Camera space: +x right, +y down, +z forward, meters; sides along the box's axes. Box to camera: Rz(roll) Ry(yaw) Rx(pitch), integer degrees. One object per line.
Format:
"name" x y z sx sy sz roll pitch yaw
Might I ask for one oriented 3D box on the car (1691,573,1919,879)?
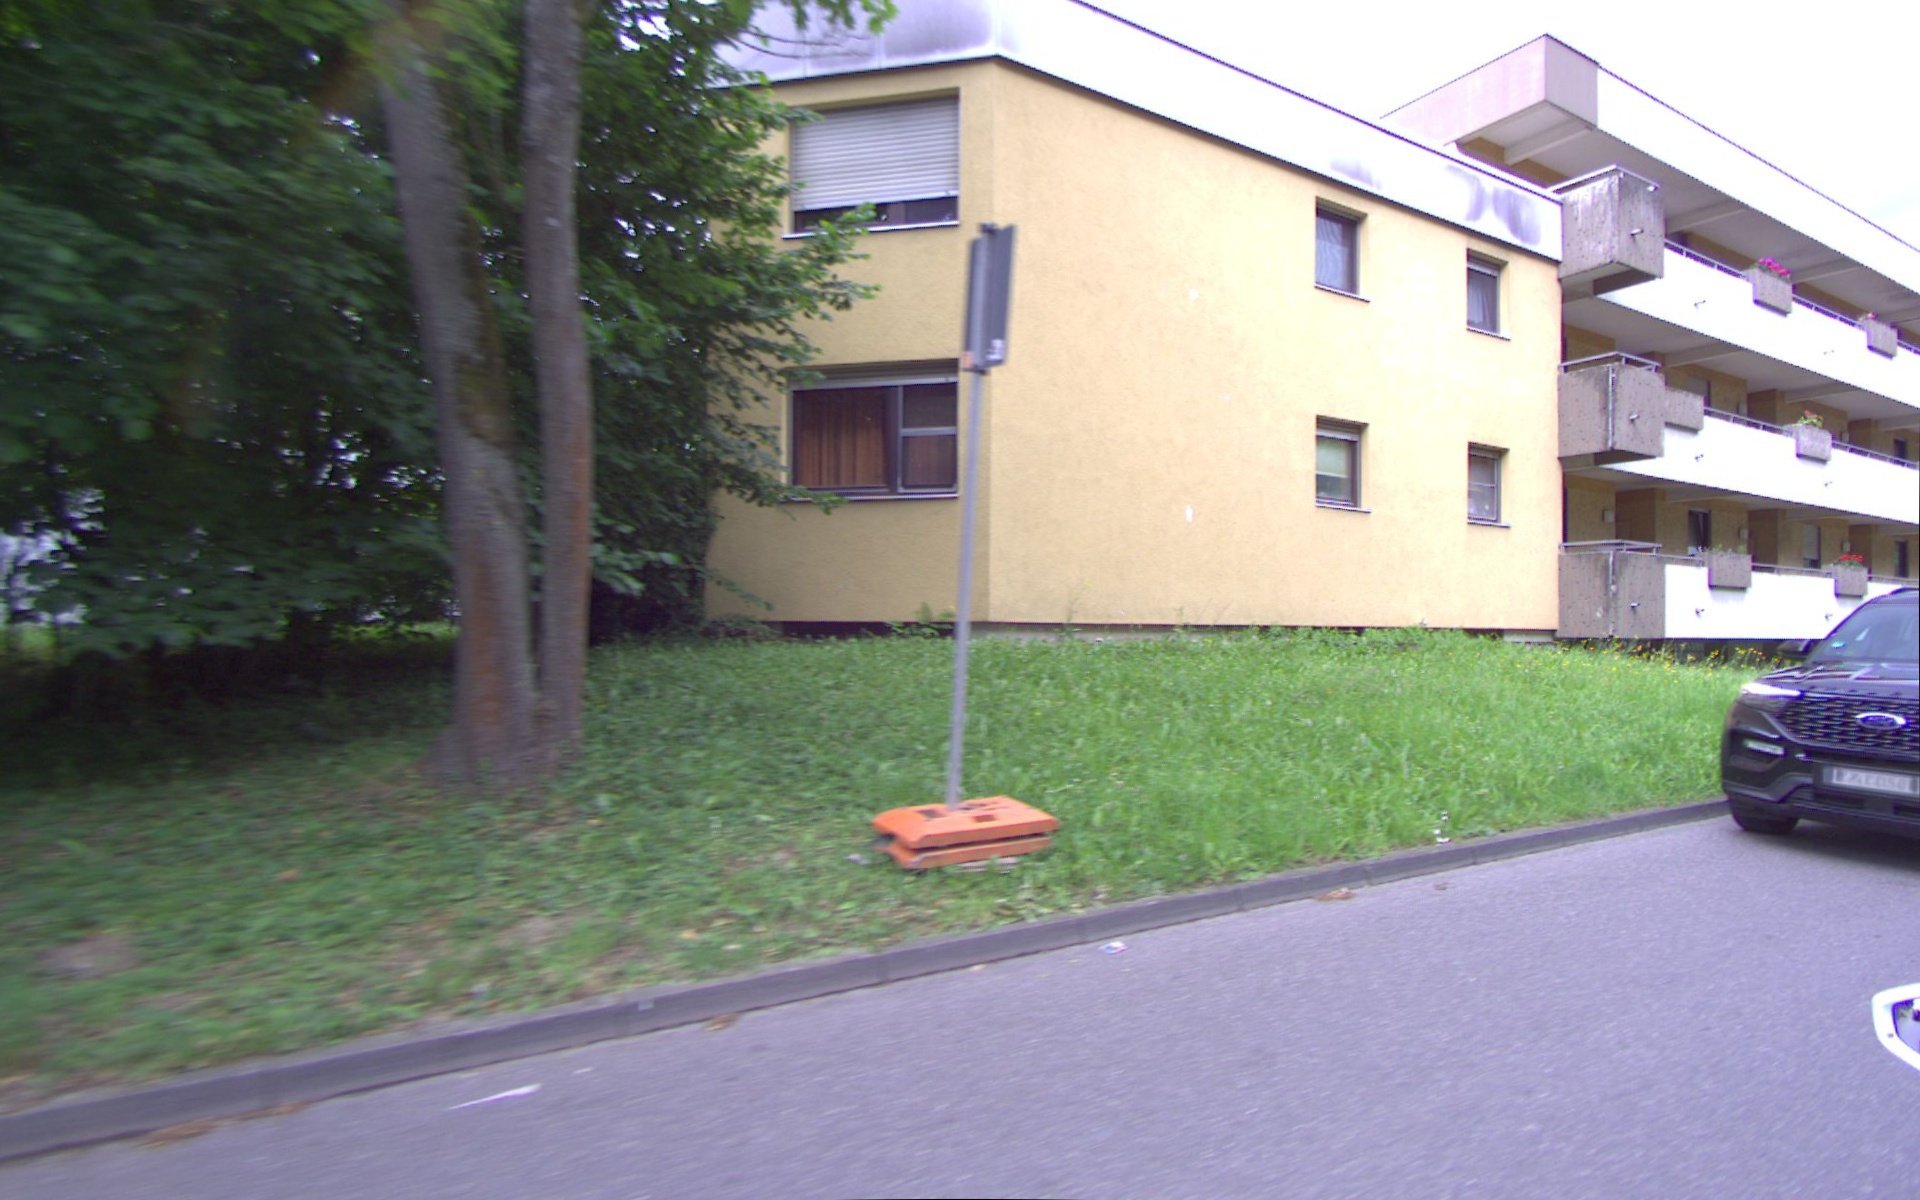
"car" 7.494 0.766 7.198 5.001 1.740 1.903 1 -1 -32
